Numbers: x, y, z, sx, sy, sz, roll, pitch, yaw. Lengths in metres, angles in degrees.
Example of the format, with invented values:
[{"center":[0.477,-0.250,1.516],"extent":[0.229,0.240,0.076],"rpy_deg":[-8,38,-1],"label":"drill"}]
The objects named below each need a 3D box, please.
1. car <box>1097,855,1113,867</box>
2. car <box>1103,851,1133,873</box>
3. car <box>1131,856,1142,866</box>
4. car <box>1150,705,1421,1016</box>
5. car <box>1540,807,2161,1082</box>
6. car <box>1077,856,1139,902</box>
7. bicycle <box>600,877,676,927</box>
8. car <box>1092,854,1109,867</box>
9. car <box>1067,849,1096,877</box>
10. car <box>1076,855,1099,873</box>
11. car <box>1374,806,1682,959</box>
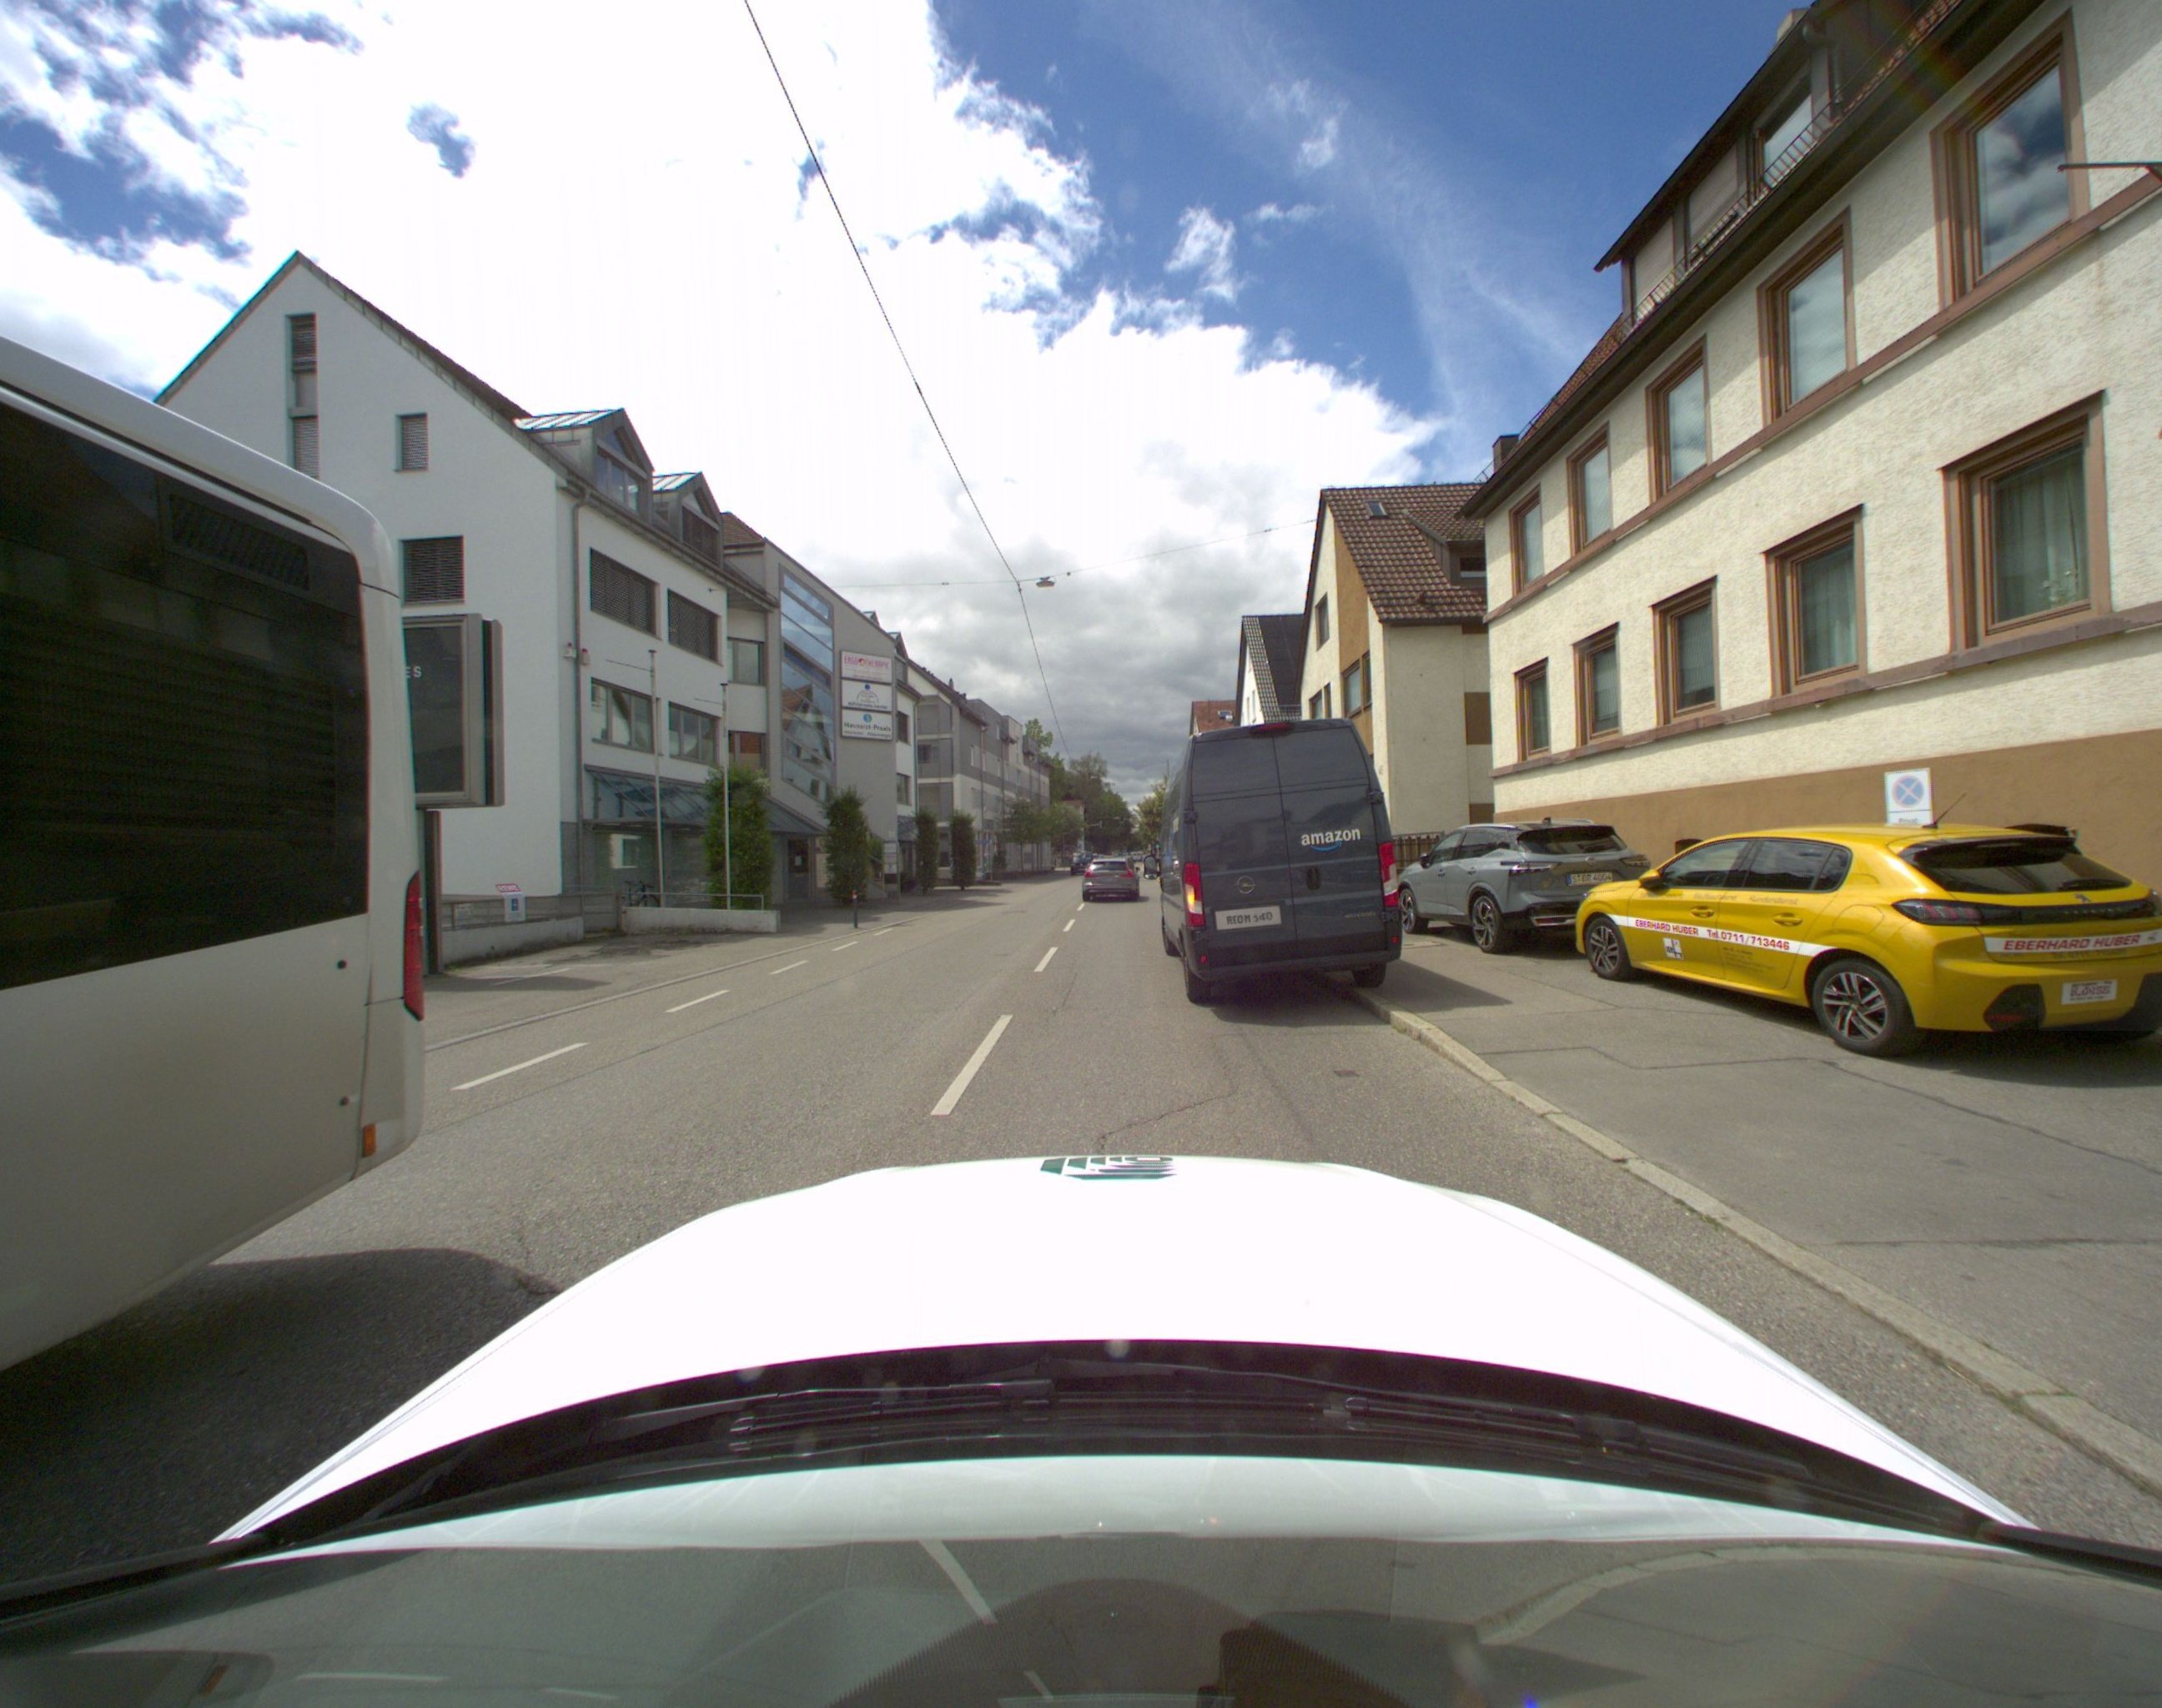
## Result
[{"center":[3.402,0.987,115.509],"extent":[2.097,1.596,4.652],"rpy_deg":[-2,0,2],"label":"car"},{"center":[2.626,0.544,57.059],"extent":[1.888,1.446,3.973],"rpy_deg":[-2,0,4],"label":"car"},{"center":[10.984,1.407,161.453],"extent":[1.984,2.013,4.005],"rpy_deg":[-2,0,4],"label":"car"},{"center":[2.113,0.067,10.295],"extent":[2.243,2.795,5.574],"rpy_deg":[-2,0,3],"label":"car"},{"center":[5.877,0.414,6.623],"extent":[1.871,1.447,4.308],"rpy_deg":[-2,2,0],"label":"car"},{"center":[1.016,0.817,28.598],"extent":[1.887,1.453,3.974],"rpy_deg":[-2,0,5],"label":"car"},{"center":[-10.927,1.168,20.161],"extent":[0.627,1.095,2.005],"rpy_deg":[-2,0,4],"label":"bicycle"},{"center":[2.606,0.886,107.950],"extent":[2.097,1.596,4.652],"rpy_deg":[-2,0,2],"label":"car"},{"center":[0.081,0.716,68.588],"extent":[2.097,2.121,4.767],"rpy_deg":[-4,0,2],"label":"car"},{"center":[0.705,0.975,80.607],"extent":[2.097,1.709,4.767],"rpy_deg":[-2,0,2],"label":"car"},{"center":[5.829,0.317,11.418],"extent":[1.853,1.612,4.588],"rpy_deg":[-3,0,2],"label":"car"}]
